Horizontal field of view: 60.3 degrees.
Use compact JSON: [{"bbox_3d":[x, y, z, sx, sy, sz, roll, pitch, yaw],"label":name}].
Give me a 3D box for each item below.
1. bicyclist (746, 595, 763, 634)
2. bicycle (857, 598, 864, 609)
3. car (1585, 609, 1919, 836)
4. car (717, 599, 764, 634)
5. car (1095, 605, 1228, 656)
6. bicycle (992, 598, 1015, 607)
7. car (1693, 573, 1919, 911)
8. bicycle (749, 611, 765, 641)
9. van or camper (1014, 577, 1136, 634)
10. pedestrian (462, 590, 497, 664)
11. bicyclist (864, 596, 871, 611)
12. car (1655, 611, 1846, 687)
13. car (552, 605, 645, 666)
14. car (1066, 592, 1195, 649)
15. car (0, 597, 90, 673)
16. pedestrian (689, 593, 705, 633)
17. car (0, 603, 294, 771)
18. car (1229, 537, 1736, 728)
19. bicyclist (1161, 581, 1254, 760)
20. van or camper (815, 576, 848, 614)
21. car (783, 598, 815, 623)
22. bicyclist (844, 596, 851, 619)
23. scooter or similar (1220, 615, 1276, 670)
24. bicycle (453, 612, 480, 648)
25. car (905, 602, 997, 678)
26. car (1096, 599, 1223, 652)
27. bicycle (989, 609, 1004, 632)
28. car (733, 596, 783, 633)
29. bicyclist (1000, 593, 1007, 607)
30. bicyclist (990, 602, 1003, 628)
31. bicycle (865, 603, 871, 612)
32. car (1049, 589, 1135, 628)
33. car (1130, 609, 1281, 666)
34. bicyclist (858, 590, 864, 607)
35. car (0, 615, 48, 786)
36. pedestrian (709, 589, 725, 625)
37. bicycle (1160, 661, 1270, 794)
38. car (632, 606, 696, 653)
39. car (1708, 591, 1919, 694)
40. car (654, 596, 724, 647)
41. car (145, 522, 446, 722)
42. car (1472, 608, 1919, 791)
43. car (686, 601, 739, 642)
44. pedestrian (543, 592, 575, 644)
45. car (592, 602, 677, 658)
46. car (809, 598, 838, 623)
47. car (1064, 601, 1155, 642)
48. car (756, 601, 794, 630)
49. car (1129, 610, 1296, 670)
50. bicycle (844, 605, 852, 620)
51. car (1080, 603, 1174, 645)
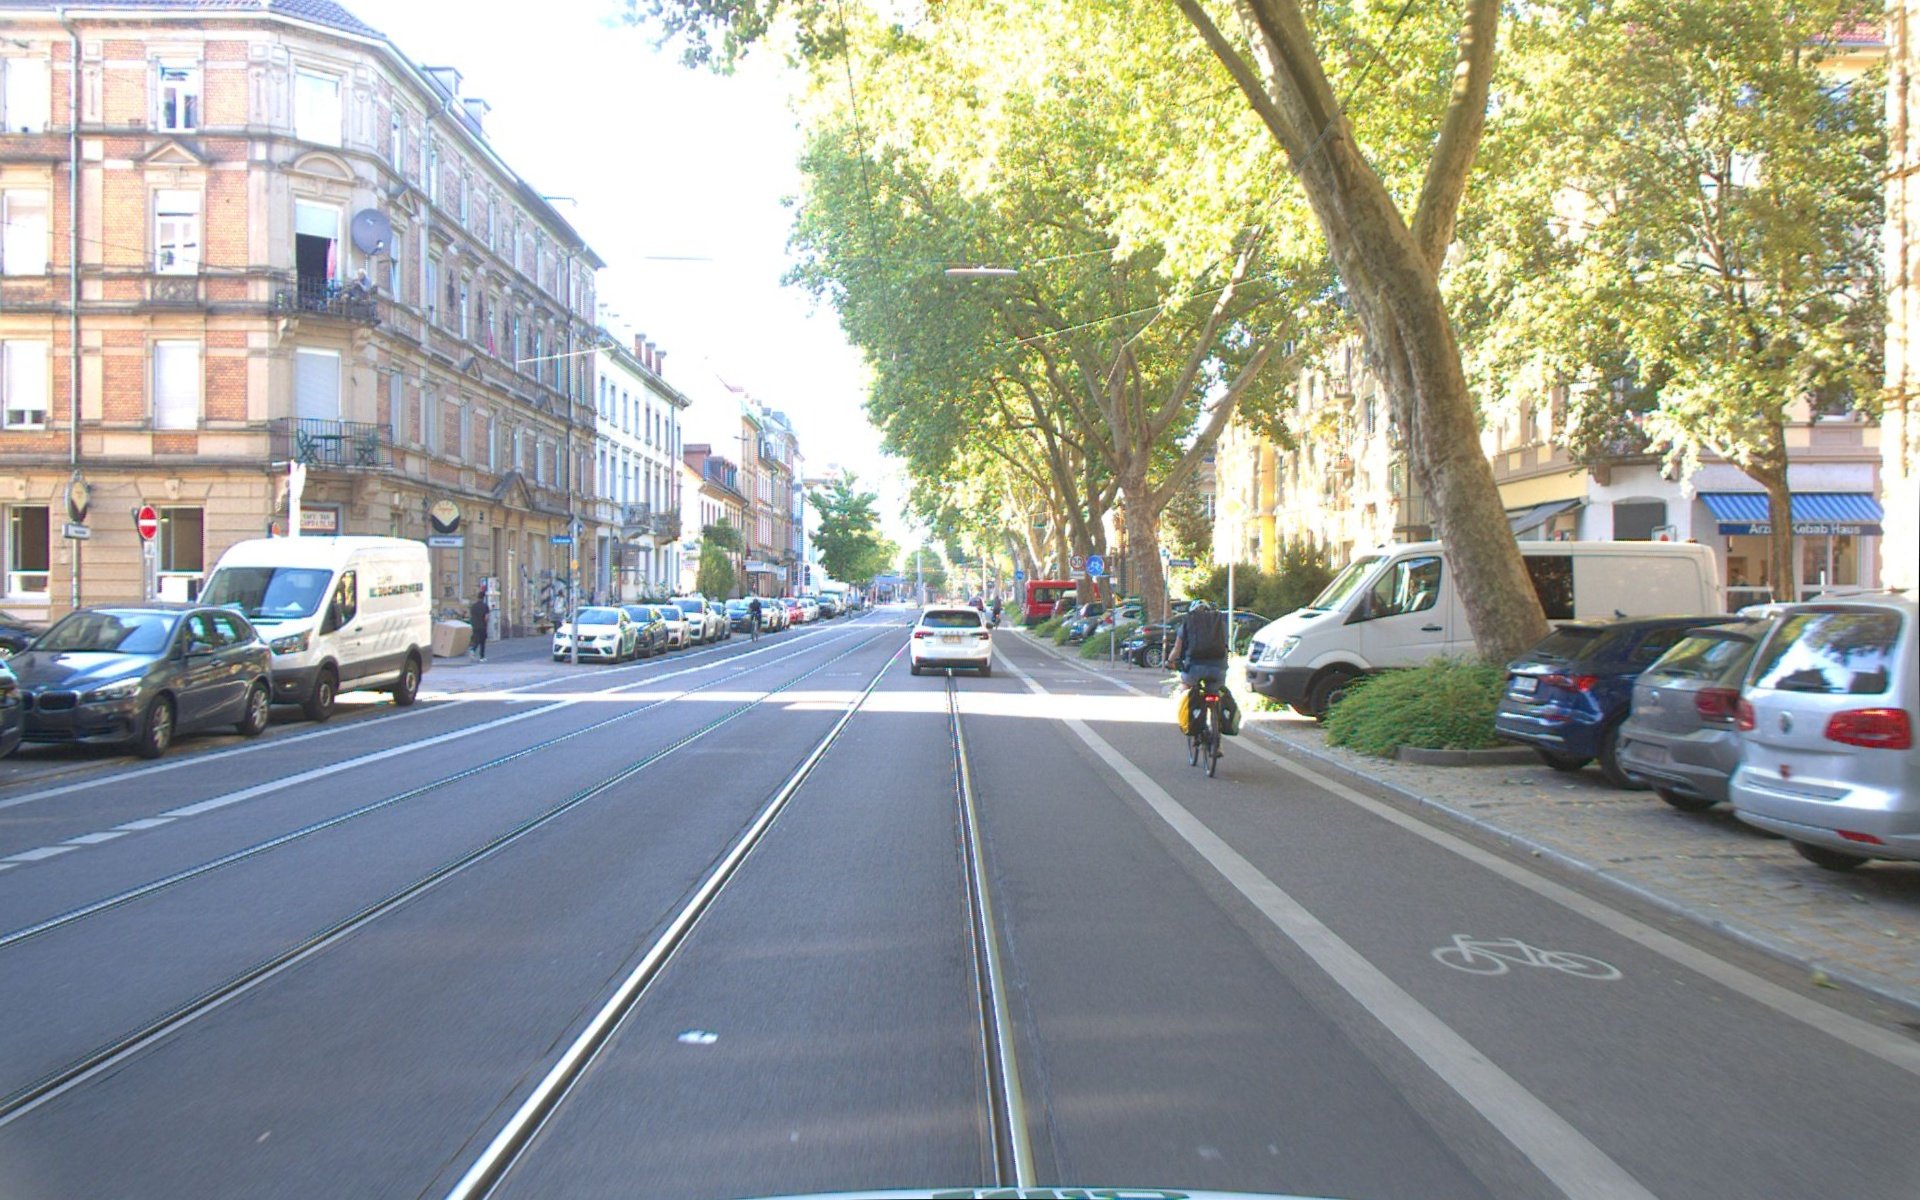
[{"bbox_3d":[-8.036,0.565,64.799,0.570,1.508,0.807,-1,0,-1],"label":"bicyclist"},{"bbox_3d":[-10.175,0.332,168.995,0.474,1.066,2.040,-2,0,1],"label":"bicycle"},{"bbox_3d":[6.834,0.826,12.059,3.874,1.504,1.796,0,0,-1],"label":"car"},{"bbox_3d":[-10.000,0.736,75.589,1.521,1.542,3.925,0,0,2],"label":"car"},{"bbox_3d":[6.346,0.958,52.226,3.946,1.506,1.681,-1,0,-2],"label":"car"},{"bbox_3d":[5.318,0.348,200.174,2.711,1.017,0.593,1,0,14],"label":"bicycle"},{"bbox_3d":[6.447,0.707,9.278,3.876,1.684,1.795,0,-1,-4],"label":"car"},{"bbox_3d":[-7.976,1.009,64.990,0.412,1.170,2.231,-1,-1,-1],"label":"bicycle"},{"bbox_3d":[5.639,0.248,81.467,5.699,2.563,2.287,-2,1,-3],"label":"van or camper"},{"bbox_3d":[-12.099,0.674,41.650,0.671,1.832,1.055,1,0,-9],"label":"pedestrian"},{"bbox_3d":[-9.880,0.371,176.552,0.625,1.529,1.070,-1,0,1],"label":"bicyclist"},{"bbox_3d":[18.169,1.109,38.117,3.602,1.644,1.692,0,2,-1],"label":"car"},{"bbox_3d":[-9.698,0.920,44.632,1.705,1.518,4.044,1,0,-2],"label":"car"},{"bbox_3d":[5.934,0.701,57.843,4.177,1.749,1.848,-2,0,-3],"label":"car"},{"bbox_3d":[-21.457,0.765,36.963,3.104,1.612,1.722,0,2,5],"label":"car"},{"bbox_3d":[-13.581,0.673,85.393,0.744,2.049,0.829,0,0,-3],"label":"pedestrian"},{"bbox_3d":[-9.164,0.865,18.614,1.684,1.660,4.345,0,0,-2],"label":"car"},{"bbox_3d":[6.531,0.387,21.176,5.867,2.322,2.006,0,1,1],"label":"car"},{"bbox_3d":[2.311,0.643,15.541,0.602,1.579,0.935,5,0,0],"label":"bicyclist"},{"bbox_3d":[-11.417,-0.428,146.943,2.171,3.195,7.114,1,0,1],"label":"van or camper"},{"bbox_3d":[-10.452,0.691,107.451,1.790,1.529,4.686,1,0,-2],"label":"car"},{"bbox_3d":[-8.281,0.554,122.148,0.463,1.664,0.800,0,0,0],"label":"bicyclist"},{"bbox_3d":[6.826,1.004,39.227,1.279,1.278,0.341,0,0,13],"label":"scooter or similar"},{"bbox_3d":[-14.820,0.894,49.682,0.365,1.052,1.847,0,0,-3],"label":"bicycle"},{"bbox_3d":[-0.239,0.807,35.278,1.805,1.506,3.836,1,0,-2],"label":"car"},{"bbox_3d":[6.596,0.841,54.817,3.947,1.672,1.680,-1,0,-3],"label":"car"},{"bbox_3d":[1.877,1.057,86.140,0.666,1.175,2.964,1,0,0],"label":"bicycle"},{"bbox_3d":[-9.839,0.692,81.050,1.818,1.733,4.763,0,0,0],"label":"car"},{"bbox_3d":[5.238,-0.010,200.204,0.721,1.617,0.587,0,0,12],"label":"bicyclist"},{"bbox_3d":[1.886,0.787,85.915,0.665,1.362,0.525,1,0,-1],"label":"bicyclist"},{"bbox_3d":[-9.850,0.809,176.661,0.488,0.959,1.922,-2,0,1],"label":"bicycle"},{"bbox_3d":[6.128,0.407,76.762,3.742,1.678,1.766,-2,-1,-3],"label":"car"},{"bbox_3d":[6.729,1.028,45.611,4.010,1.517,1.682,0,0,4],"label":"car"},{"bbox_3d":[-10.081,-0.167,168.781,0.524,1.663,0.897,-2,0,1],"label":"bicyclist"},{"bbox_3d":[-9.259,0.879,12.900,1.683,1.482,4.572,0,0,1],"label":"car"},{"bbox_3d":[-12.535,0.365,85.338,0.744,1.853,0.829,0,0,-3],"label":"pedestrian"},{"bbox_3d":[2.341,1.140,15.460,0.583,1.022,2.511,3,0,0],"label":"bicycle"},{"bbox_3d":[-9.814,0.949,55.083,1.666,1.445,3.996,1,0,-5],"label":"car"},{"bbox_3d":[13.528,0.626,26.057,1.698,1.481,3.567,1,0,-4],"label":"car"},{"bbox_3d":[-9.865,0.745,60.483,1.750,1.753,4.718,1,0,0],"label":"car"},{"bbox_3d":[-9.452,0.280,24.166,2.022,2.580,5.667,0,0,1],"label":"car"},{"bbox_3d":[6.809,0.825,14.663,3.972,1.485,1.795,0,0,-2],"label":"car"},{"bbox_3d":[-9.813,0.841,65.890,1.629,1.547,4.062,1,0,-3],"label":"car"},{"bbox_3d":[-13.208,0.599,54.488,0.650,1.694,0.767,1,0,31],"label":"pedestrian"},{"bbox_3d":[-9.740,0.866,49.859,1.705,1.589,4.785,1,0,-2],"label":"car"},{"bbox_3d":[-10.584,0.771,128.617,1.925,1.812,4.936,3,0,-2],"label":"car"},{"bbox_3d":[6.055,0.876,67.144,3.522,1.544,1.693,-2,0,-1],"label":"car"},{"bbox_3d":[-10.225,0.820,91.566,1.652,1.502,4.257,1,0,0],"label":"car"},{"bbox_3d":[6.524,1.026,42.948,4.014,1.517,1.830,0,0,-3],"label":"car"},{"bbox_3d":[-8.280,0.892,122.082,0.471,1.105,1.846,0,0,1],"label":"bicycle"},{"bbox_3d":[6.504,0.945,64.713,3.521,1.627,1.541,0,-1,0],"label":"car"}]
